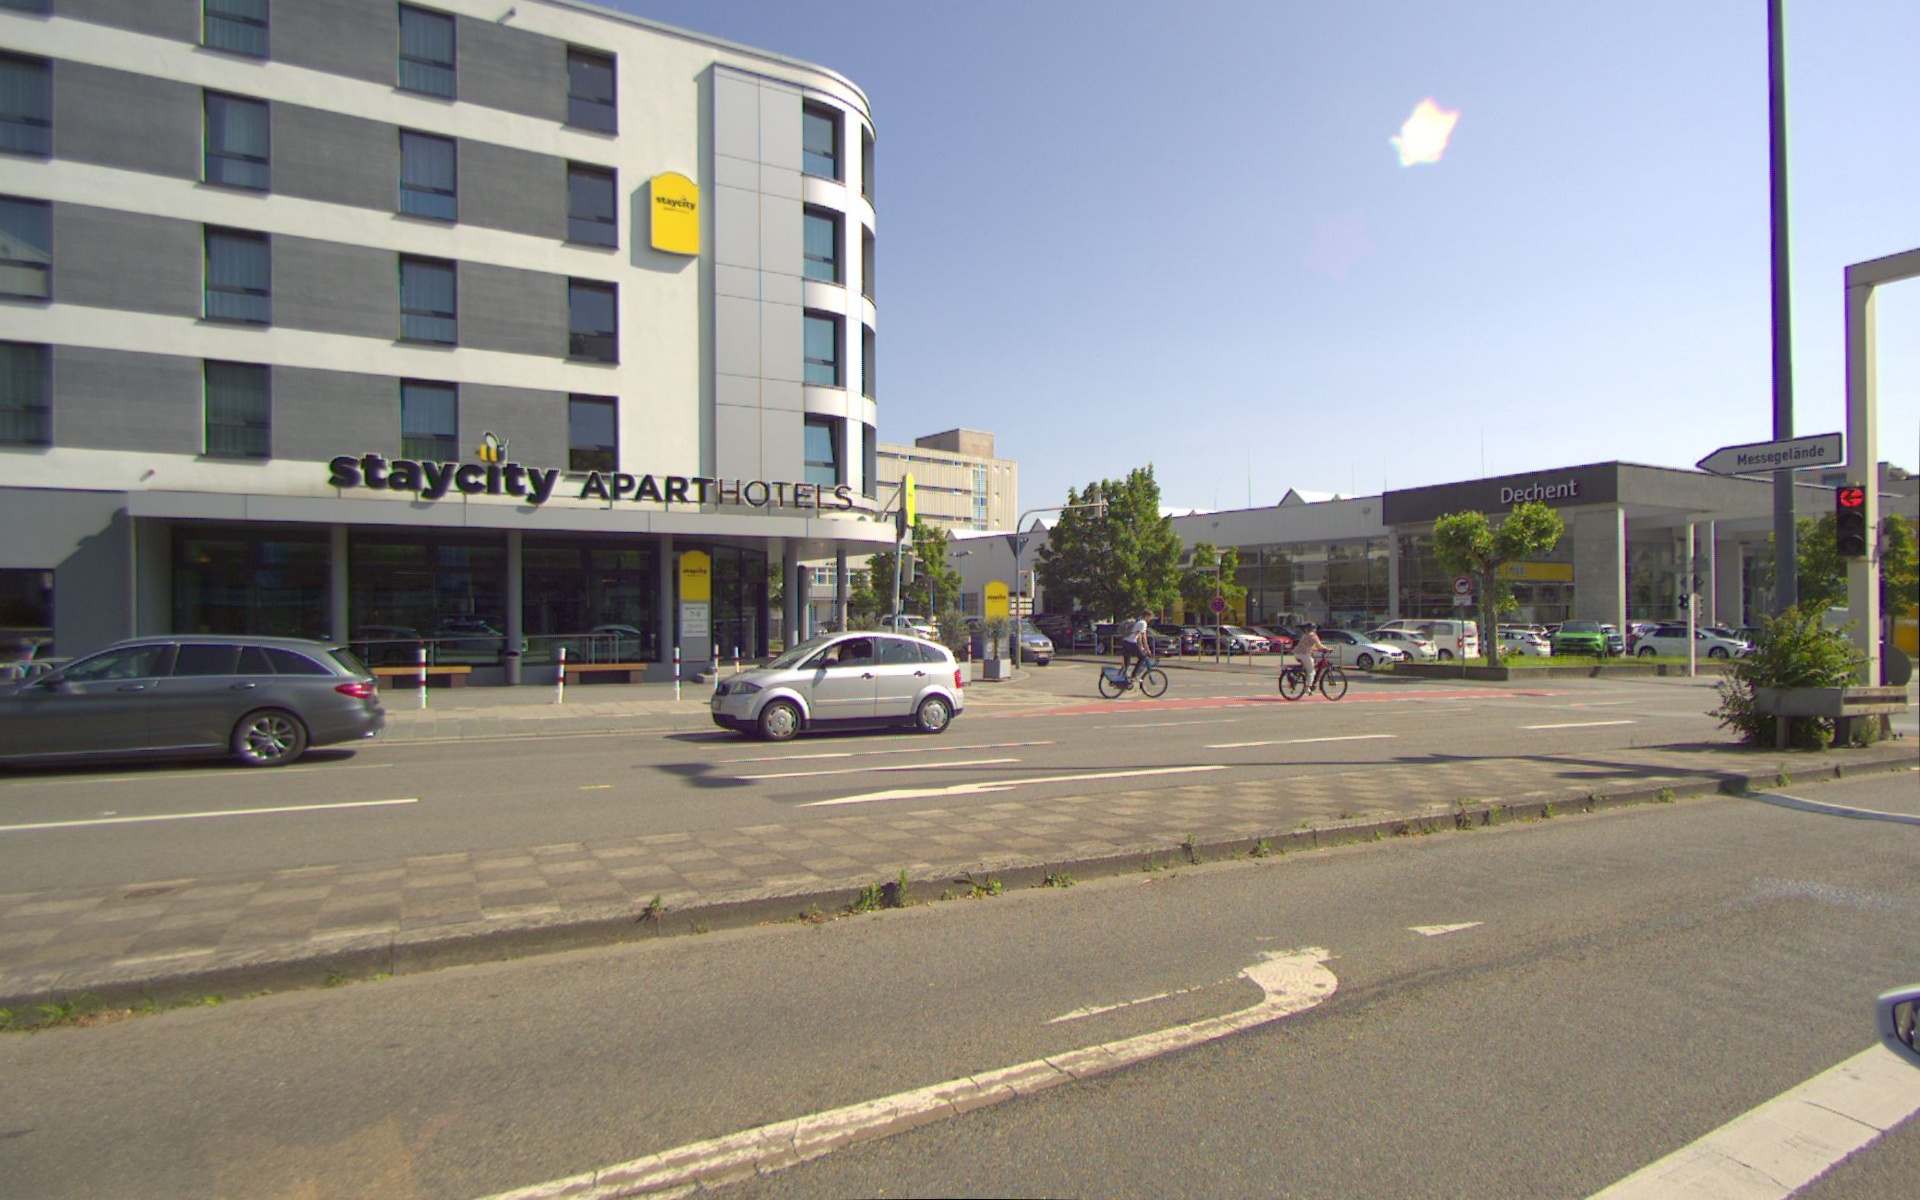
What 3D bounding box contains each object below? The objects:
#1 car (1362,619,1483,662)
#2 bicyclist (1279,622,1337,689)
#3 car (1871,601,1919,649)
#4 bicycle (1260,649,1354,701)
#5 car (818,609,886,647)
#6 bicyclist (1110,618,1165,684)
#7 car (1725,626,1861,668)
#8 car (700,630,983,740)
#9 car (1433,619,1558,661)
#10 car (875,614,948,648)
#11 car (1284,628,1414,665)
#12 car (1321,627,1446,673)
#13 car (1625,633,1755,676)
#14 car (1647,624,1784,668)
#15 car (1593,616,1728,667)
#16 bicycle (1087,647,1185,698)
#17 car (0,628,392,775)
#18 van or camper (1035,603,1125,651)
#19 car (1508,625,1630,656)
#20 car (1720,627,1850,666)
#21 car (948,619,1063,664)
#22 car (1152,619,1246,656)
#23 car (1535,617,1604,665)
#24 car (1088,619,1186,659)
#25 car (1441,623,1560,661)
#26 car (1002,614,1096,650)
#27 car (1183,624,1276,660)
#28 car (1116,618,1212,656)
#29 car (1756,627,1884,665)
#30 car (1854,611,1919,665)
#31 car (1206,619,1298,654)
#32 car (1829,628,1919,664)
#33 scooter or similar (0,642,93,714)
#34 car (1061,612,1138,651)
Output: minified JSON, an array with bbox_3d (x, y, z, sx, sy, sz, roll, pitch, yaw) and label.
[{"bbox_3d":[19.666,1.699,42.864,1.982,1.719,4.324,1,-2,-37],"label":"car"},{"bbox_3d":[7.933,1.252,22.894,1.013,1.479,0.765,1,-1,-25],"label":"bicyclist"},{"bbox_3d":[53.084,1.364,55.002,1.972,2.635,4.346,1,-1,-24],"label":"car"},{"bbox_3d":[7.908,1.687,22.871,2.133,1.131,0.765,1,-1,-26],"label":"bicycle"},{"bbox_3d":[-6.813,1.741,63.130,1.985,2.158,4.566,2,0,-41],"label":"car"},{"bbox_3d":[4.099,1.171,23.266,1.011,1.479,0.767,1,-1,-20],"label":"bicyclist"},{"bbox_3d":[37.208,2.082,44.968,1.977,1.719,4.334,2,-1,-31],"label":"car"},{"bbox_3d":[-1.764,1.206,15.101,3.867,1.457,1.765,1,-3,-28],"label":"car"},{"bbox_3d":[22.833,1.662,42.933,1.983,1.719,4.323,1,-2,-38],"label":"car"},{"bbox_3d":[-2.881,1.820,59.046,1.970,1.815,4.377,2,0,-41],"label":"car"},{"bbox_3d":[14.857,1.738,38.593,1.980,1.317,4.329,1,-2,-34],"label":"car"},{"bbox_3d":[17.188,1.983,40.963,1.980,1.719,4.329,1,-2,-34],"label":"car"},{"bbox_3d":[30.230,2.207,41.691,1.981,1.620,3.960,1,-2,-36],"label":"car"},{"bbox_3d":[32.242,1.933,42.995,1.978,1.789,4.274,1,-2,-31],"label":"car"},{"bbox_3d":[27.075,1.574,38.949,1.978,1.862,3.850,1,-2,-32],"label":"car"},{"bbox_3d":[4.068,1.665,23.244,2.127,1.131,0.767,1,-1,-18],"label":"bicycle"},{"bbox_3d":[-9.033,1.087,11.277,4.529,1.445,1.948,1,-5,-29],"label":"car"},{"bbox_3d":[6.233,1.406,52.622,1.982,2.432,4.679,1,-2,-38],"label":"van or camper"},{"bbox_3d":[27.642,1.836,45.717,1.982,1.284,4.326,4,-4,-37],"label":"car"},{"bbox_3d":[38.576,2.138,47.054,1.978,1.719,4.334,1,-2,-31],"label":"car"},{"bbox_3d":[1.777,1.644,40.818,1.984,1.737,4.774,2,-2,-39],"label":"car"},{"bbox_3d":[11.612,1.800,49.041,1.980,1.719,4.329,1,-2,-34],"label":"car"},{"bbox_3d":[23.719,1.606,39.199,1.870,1.756,3.293,0,-3,24],"label":"car"},{"bbox_3d":[8.011,1.744,45.790,1.980,1.719,4.329,1,-2,-34],"label":"car"},{"bbox_3d":[24.325,1.869,45.357,1.982,1.612,4.325,1,-2,-37],"label":"car"},{"bbox_3d":[4.374,1.561,49.884,4.305,1.719,1.991,-1,-2,40],"label":"car"},{"bbox_3d":[13.627,2.112,50.981,1.980,1.719,4.329,1,-2,-34],"label":"car"},{"bbox_3d":[9.680,1.723,47.907,1.980,1.719,4.329,1,-2,-34],"label":"car"},{"bbox_3d":[41.406,2.190,48.468,1.978,1.719,4.334,1,-2,-31],"label":"car"},{"bbox_3d":[49.017,1.941,51.376,2.096,2.720,4.491,1,-1,-20],"label":"car"},{"bbox_3d":[15.286,1.884,52.713,1.982,1.719,4.325,1,-2,-37],"label":"car"},{"bbox_3d":[46.803,2.302,50.481,1.973,1.719,4.343,1,-1,-25],"label":"car"},{"bbox_3d":[-15.143,1.262,16.333,1.499,1.127,0.349,2,-1,-28],"label":"scooter or similar"},{"bbox_3d":[7.603,1.684,54.916,1.982,2.040,3.957,1,-2,-38],"label":"car"}]
